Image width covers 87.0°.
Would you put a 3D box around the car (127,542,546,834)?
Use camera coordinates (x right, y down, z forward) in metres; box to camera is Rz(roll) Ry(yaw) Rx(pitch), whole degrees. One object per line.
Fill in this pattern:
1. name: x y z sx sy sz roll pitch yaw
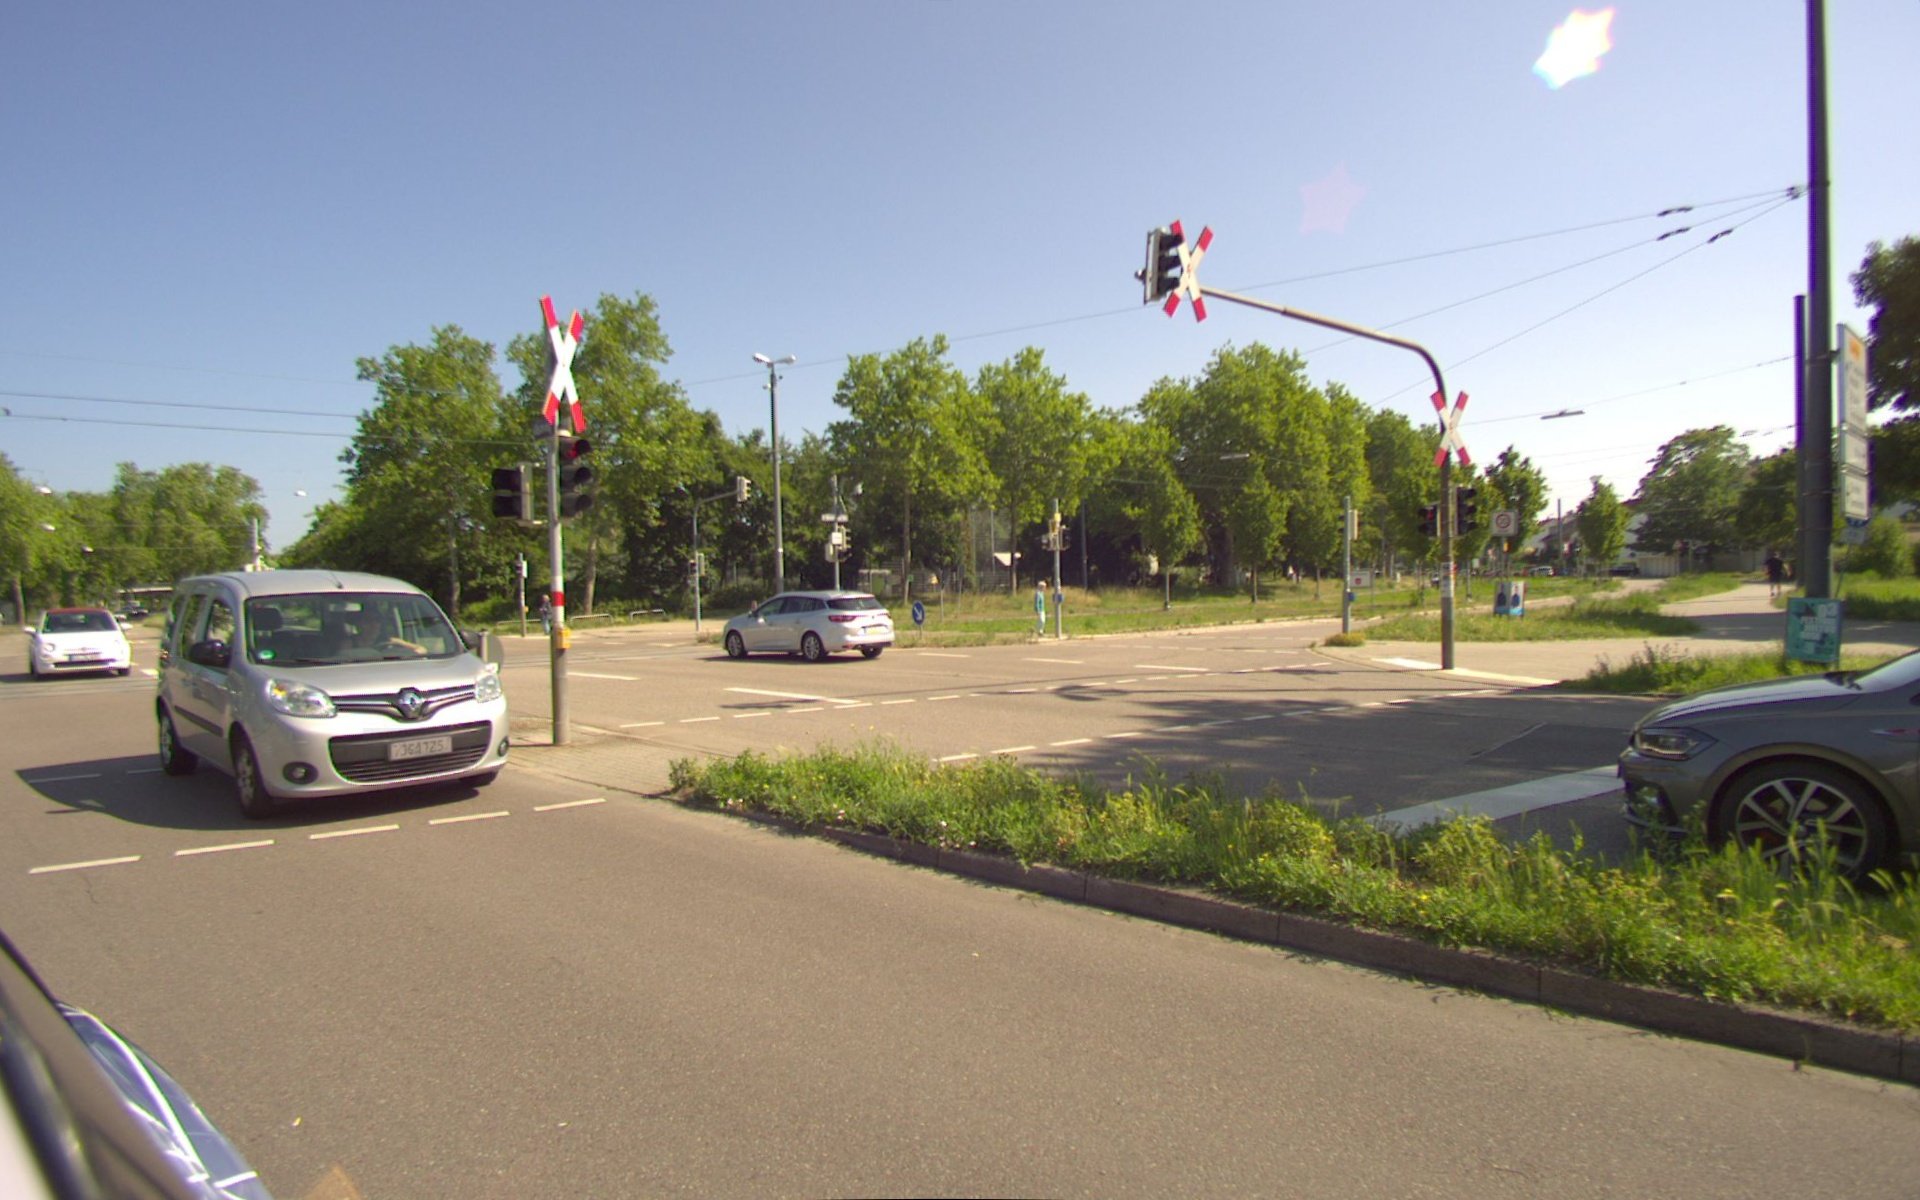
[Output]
1. car: -5.447 0.564 8.582 4.374 1.854 1.852 0 0 42

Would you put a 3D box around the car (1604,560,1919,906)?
1. car: 5.419 0.555 4.497 4.126 1.519 1.677 -1 1 40

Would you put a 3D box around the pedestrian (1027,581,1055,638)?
1. pedestrian: 2.251 0.267 28.071 0.666 1.572 0.362 -1 1 30

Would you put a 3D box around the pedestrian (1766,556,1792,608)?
1. pedestrian: 32.636 -0.704 40.347 0.712 2.029 0.784 -1 0 44

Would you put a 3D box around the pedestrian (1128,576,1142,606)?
1. pedestrian: 12.283 -0.645 71.113 0.754 2.106 0.611 -1 1 40

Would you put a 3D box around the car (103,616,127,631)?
1. car: -120.507 3.358 144.342 1.966 2.029 4.012 -2 0 -30

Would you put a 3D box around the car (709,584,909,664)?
1. car: -3.355 0.479 21.858 4.660 1.519 1.676 -1 1 42

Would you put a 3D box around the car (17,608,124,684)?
1. car: -20.126 0.962 22.981 1.664 1.502 4.382 -2 1 -41

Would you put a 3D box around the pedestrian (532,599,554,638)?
1. pedestrian: -16.622 0.739 40.351 0.568 1.546 0.599 -1 1 41
